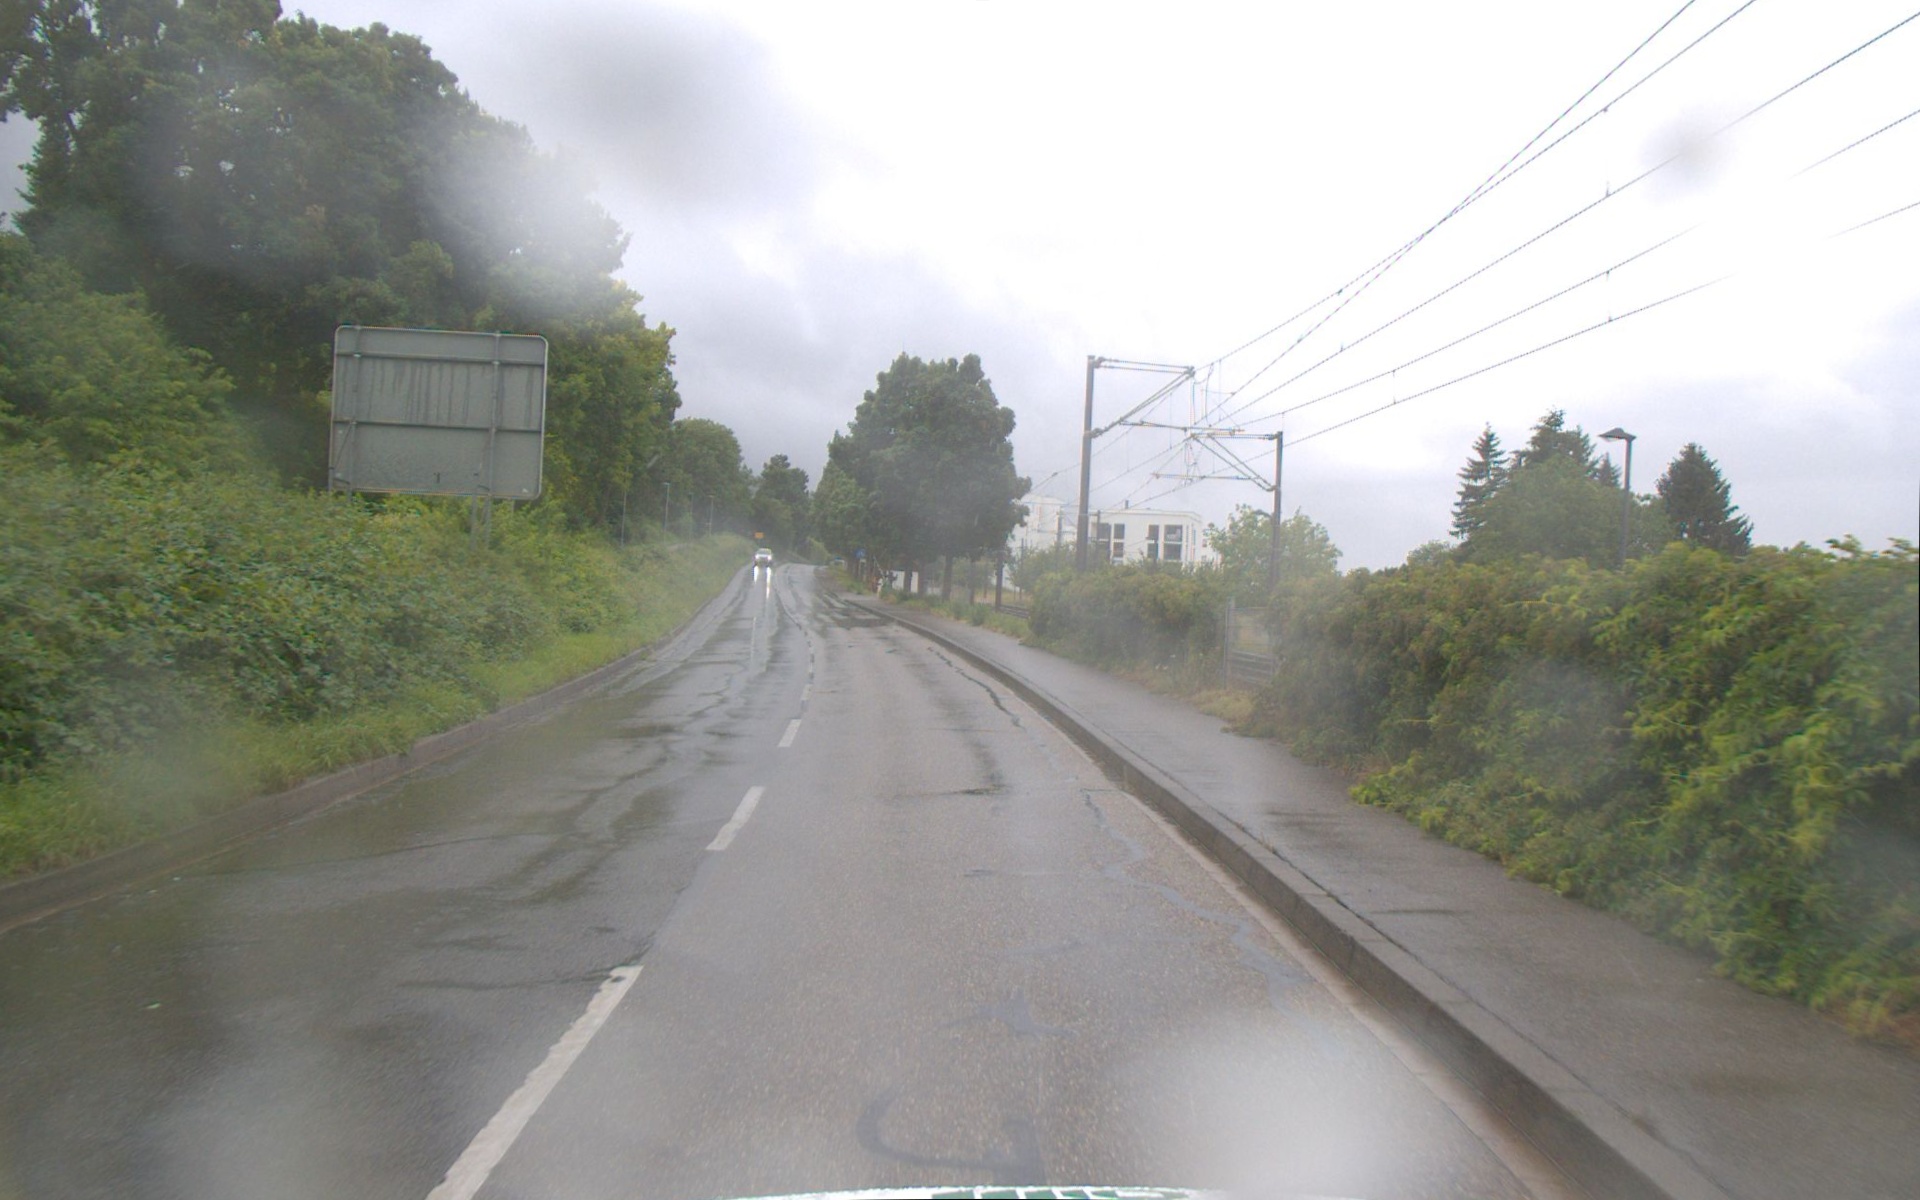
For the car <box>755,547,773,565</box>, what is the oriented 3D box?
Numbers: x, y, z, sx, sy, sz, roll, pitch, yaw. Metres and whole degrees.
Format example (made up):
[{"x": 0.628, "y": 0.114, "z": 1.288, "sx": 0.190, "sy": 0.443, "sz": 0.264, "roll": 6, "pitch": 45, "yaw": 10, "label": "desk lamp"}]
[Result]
[{"x": -19.917, "y": -4.491, "z": 168.459, "sx": 1.711, "sy": 1.639, "sz": 4.083, "roll": 3, "pitch": 2, "yaw": -7, "label": "car"}]
